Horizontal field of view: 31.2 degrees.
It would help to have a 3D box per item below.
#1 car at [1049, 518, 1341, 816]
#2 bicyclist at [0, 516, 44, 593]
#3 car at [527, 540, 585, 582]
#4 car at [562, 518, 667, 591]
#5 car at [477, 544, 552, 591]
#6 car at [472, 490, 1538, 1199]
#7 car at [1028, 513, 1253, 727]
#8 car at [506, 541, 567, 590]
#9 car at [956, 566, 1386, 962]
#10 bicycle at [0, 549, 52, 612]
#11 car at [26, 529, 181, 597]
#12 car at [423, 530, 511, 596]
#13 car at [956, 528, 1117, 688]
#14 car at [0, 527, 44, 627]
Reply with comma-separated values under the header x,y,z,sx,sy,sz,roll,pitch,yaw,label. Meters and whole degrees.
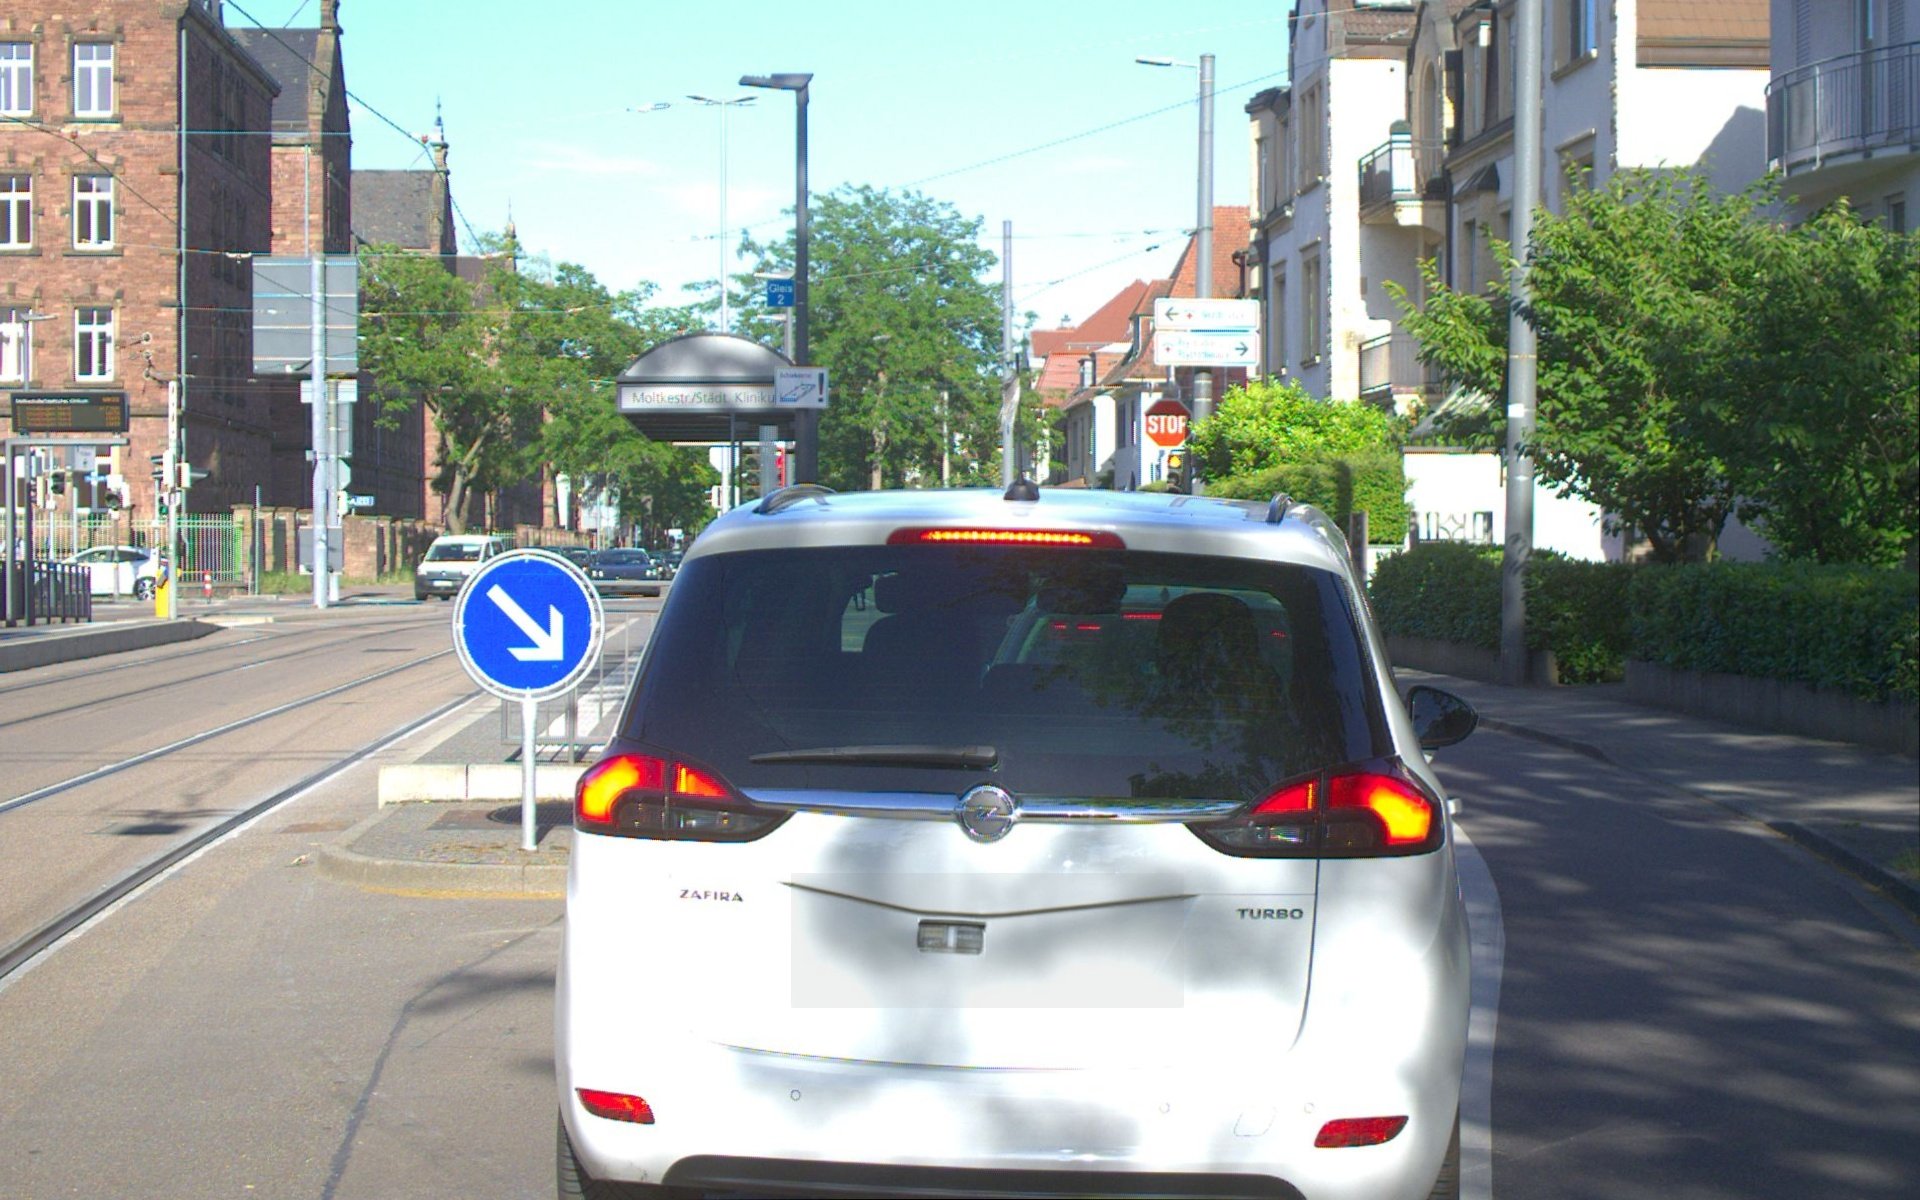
x,y,z,sx,sy,sz,roll,pitch,yaw,label
1.471,0.334,21.035,1.569,1.609,3.783,2,1,5,car
-19.060,-0.909,69.218,0.760,1.531,1.348,0,1,5,bicyclist
-14.522,-1.388,123.841,1.826,1.441,4.328,0,0,-4,car
-9.659,-1.277,95.884,1.993,2.007,4.001,0,1,-20,car
-13.667,-1.008,105.639,1.798,1.377,4.495,0,1,-1,car
0.237,0.569,8.092,1.878,1.579,3.999,1,1,5,car
1.468,0.123,29.170,1.596,1.629,3.901,2,1,-1,car
-14.291,-1.142,116.267,1.826,1.611,4.328,0,0,-4,car
0.952,0.594,14.786,1.569,1.396,3.783,2,1,5,car
-19.033,-0.404,69.286,0.777,1.226,2.088,0,1,5,bicycle
-23.022,-1.008,92.527,3.986,1.803,1.704,0,1,-11,car
-13.542,-1.041,94.565,1.827,1.782,4.255,0,1,0,car
0.806,0.062,38.280,1.596,1.629,3.901,2,1,-1,car
-16.363,-0.388,56.213,1.817,1.601,4.360,0,1,-3,car
